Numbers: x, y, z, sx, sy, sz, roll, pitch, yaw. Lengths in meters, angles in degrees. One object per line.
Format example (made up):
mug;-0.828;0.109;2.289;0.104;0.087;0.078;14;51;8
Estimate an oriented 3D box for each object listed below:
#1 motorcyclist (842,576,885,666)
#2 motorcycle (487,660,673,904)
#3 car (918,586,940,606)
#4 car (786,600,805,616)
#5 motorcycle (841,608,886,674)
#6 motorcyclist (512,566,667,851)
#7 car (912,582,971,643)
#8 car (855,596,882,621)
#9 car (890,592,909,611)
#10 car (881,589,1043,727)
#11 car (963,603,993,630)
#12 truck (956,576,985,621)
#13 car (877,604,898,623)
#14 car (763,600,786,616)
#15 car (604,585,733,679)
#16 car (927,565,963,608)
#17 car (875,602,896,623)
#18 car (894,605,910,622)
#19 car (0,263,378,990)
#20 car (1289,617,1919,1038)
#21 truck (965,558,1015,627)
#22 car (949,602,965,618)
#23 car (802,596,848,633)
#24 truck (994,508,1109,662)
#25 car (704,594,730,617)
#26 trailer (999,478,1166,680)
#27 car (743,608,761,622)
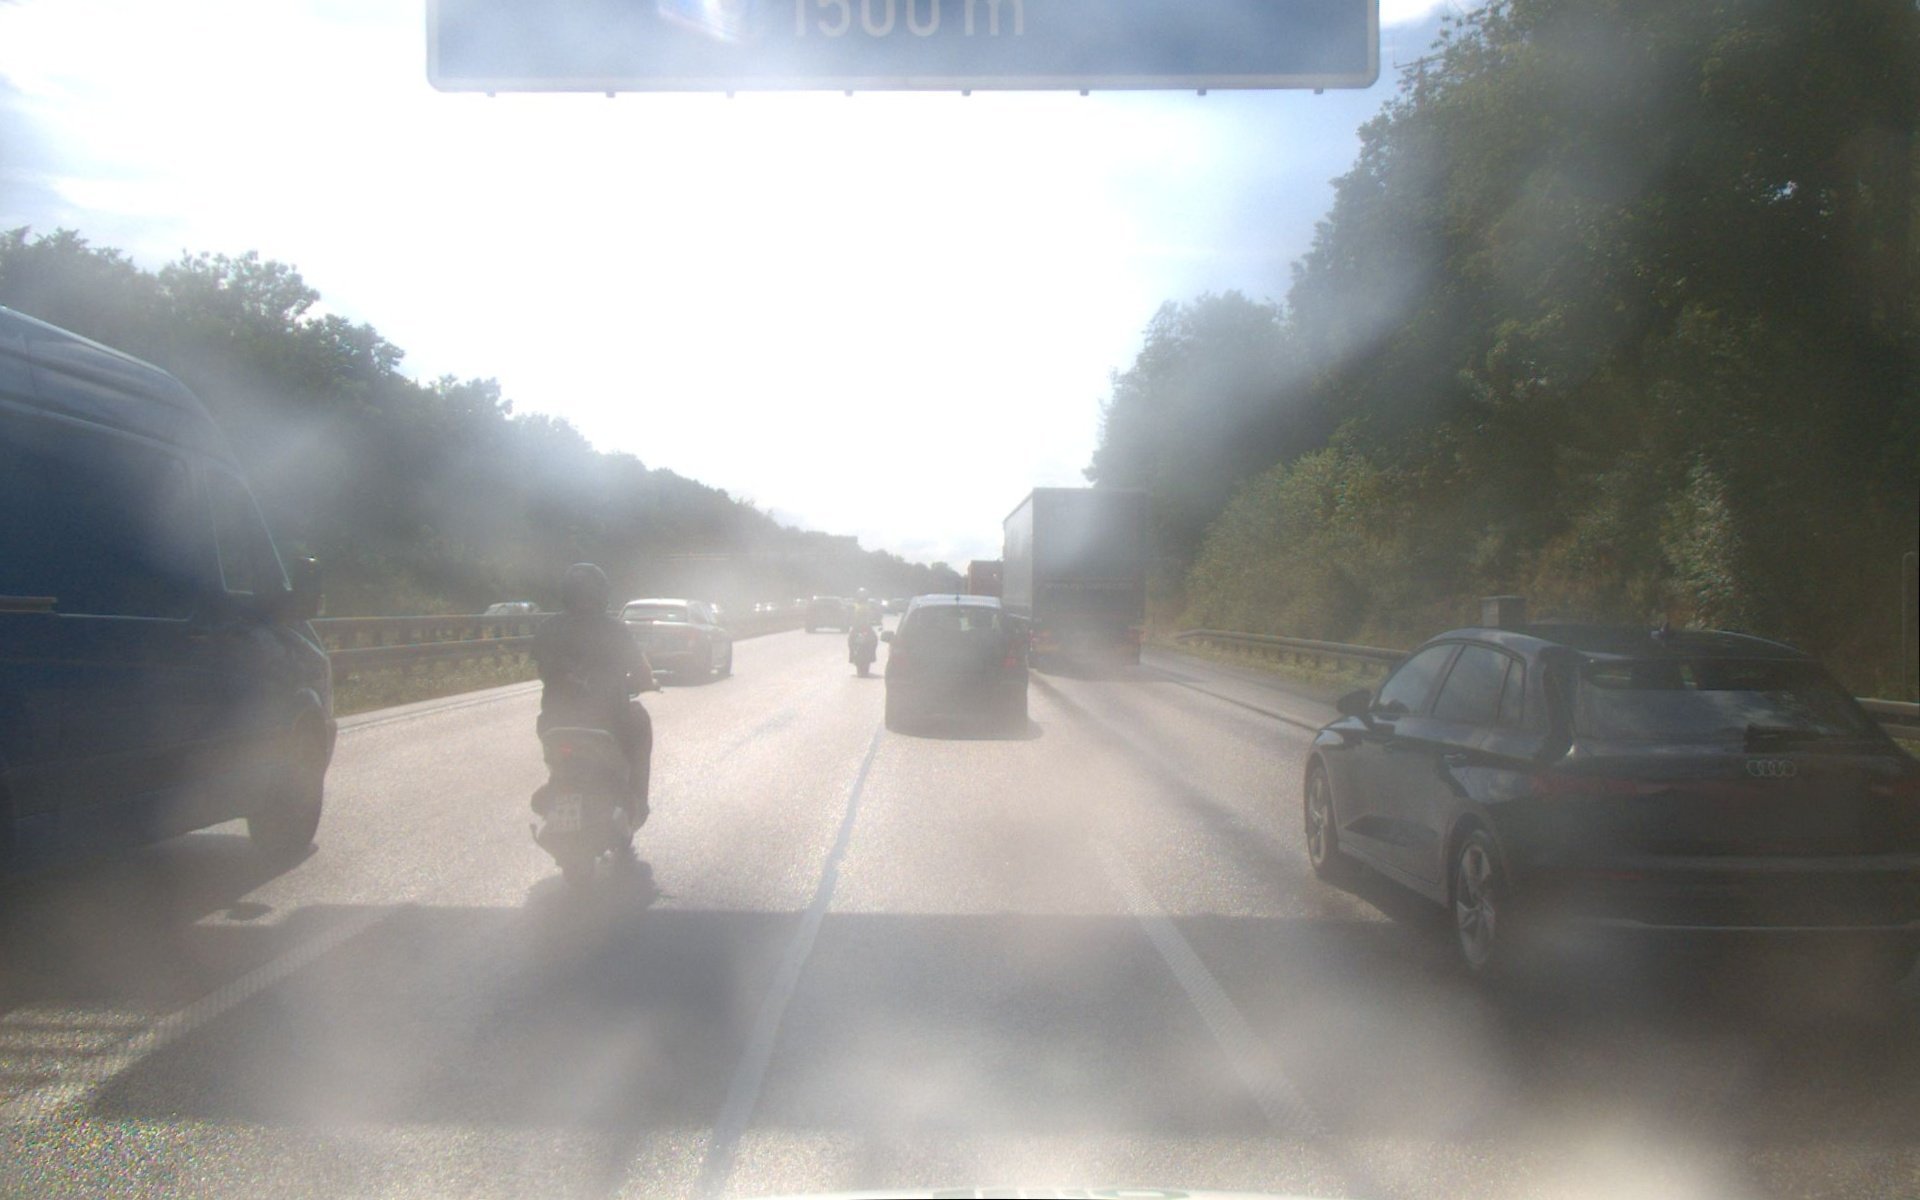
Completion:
motorcyclist;-1.962;0.434;33.868;0.804;1.791;1.390;1;-1;-1
motorcycle;-2.017;0.925;9.034;0.662;1.106;1.980;1;0;-4
car;-2.373;-0.304;125.675;1.598;1.516;3.435;1;0;-1
car;-19.954;1.003;200.824;1.885;1.945;4.288;0;0;-1
motorcycle;-1.966;0.820;33.815;0.803;1.285;2.117;1;0;-1
motorcyclist;-2.010;0.568;9.078;0.657;1.467;1.019;1;-1;-4
car;-0.679;0.432;57.795;1.953;2.049;3.999;1;-1;-2
car;-6.012;0.574;109.228;1.641;1.625;3.435;1;0;-1
car;-6.745;0.213;185.086;1.953;2.049;3.999;1;-1;-1
car;-0.015;0.685;21.411;1.876;1.592;4.312;1;0;-1
car;1.015;0.942;95.903;1.641;1.516;3.435;1;0;-1
truck;1.128;-0.095;183.627;2.823;4.770;12.655;1;-1;-1
car;-6.031;1.140;138.091;1.641;1.516;3.435;1;0;-1
car;-19.050;0.808;169.971;1.883;1.608;3.999;-1;0;-1
car;-5.397;0.566;31.084;1.723;1.622;4.329;1;0;-1
car;-0.730;-0.610;77.660;1.641;1.970;3.772;1;0;-1
car;-7.335;1.269;164.160;1.953;2.049;3.999;1;-1;-1
car;-7.191;1.661;205.981;1.953;2.049;3.999;1;-1;-1
car;-4.568;0.091;7.380;1.975;2.695;5.775;1;0;-1
car;2.919;0.819;7.947;1.719;1.421;4.367;1;0;-1
truck;1.969;-0.468;113.091;3.137;4.481;9.431;1;0;0
car;-0.456;1.254;215.807;1.953;2.049;3.999;1;-1;-2
car;-6.231;0.665;76.835;1.854;1.656;4.194;1;0;-1
truck;2.702;-0.428;50.549;2.990;4.400;5.884;1;0;-2
car;-23.198;0.516;157.939;1.953;2.049;3.999;2;0;-2
trailer;2.853;-0.436;43.329;3.025;4.388;14.101;1;0;-1
car;-23.634;1.665;187.644;1.598;1.508;3.785;0;0;-1
